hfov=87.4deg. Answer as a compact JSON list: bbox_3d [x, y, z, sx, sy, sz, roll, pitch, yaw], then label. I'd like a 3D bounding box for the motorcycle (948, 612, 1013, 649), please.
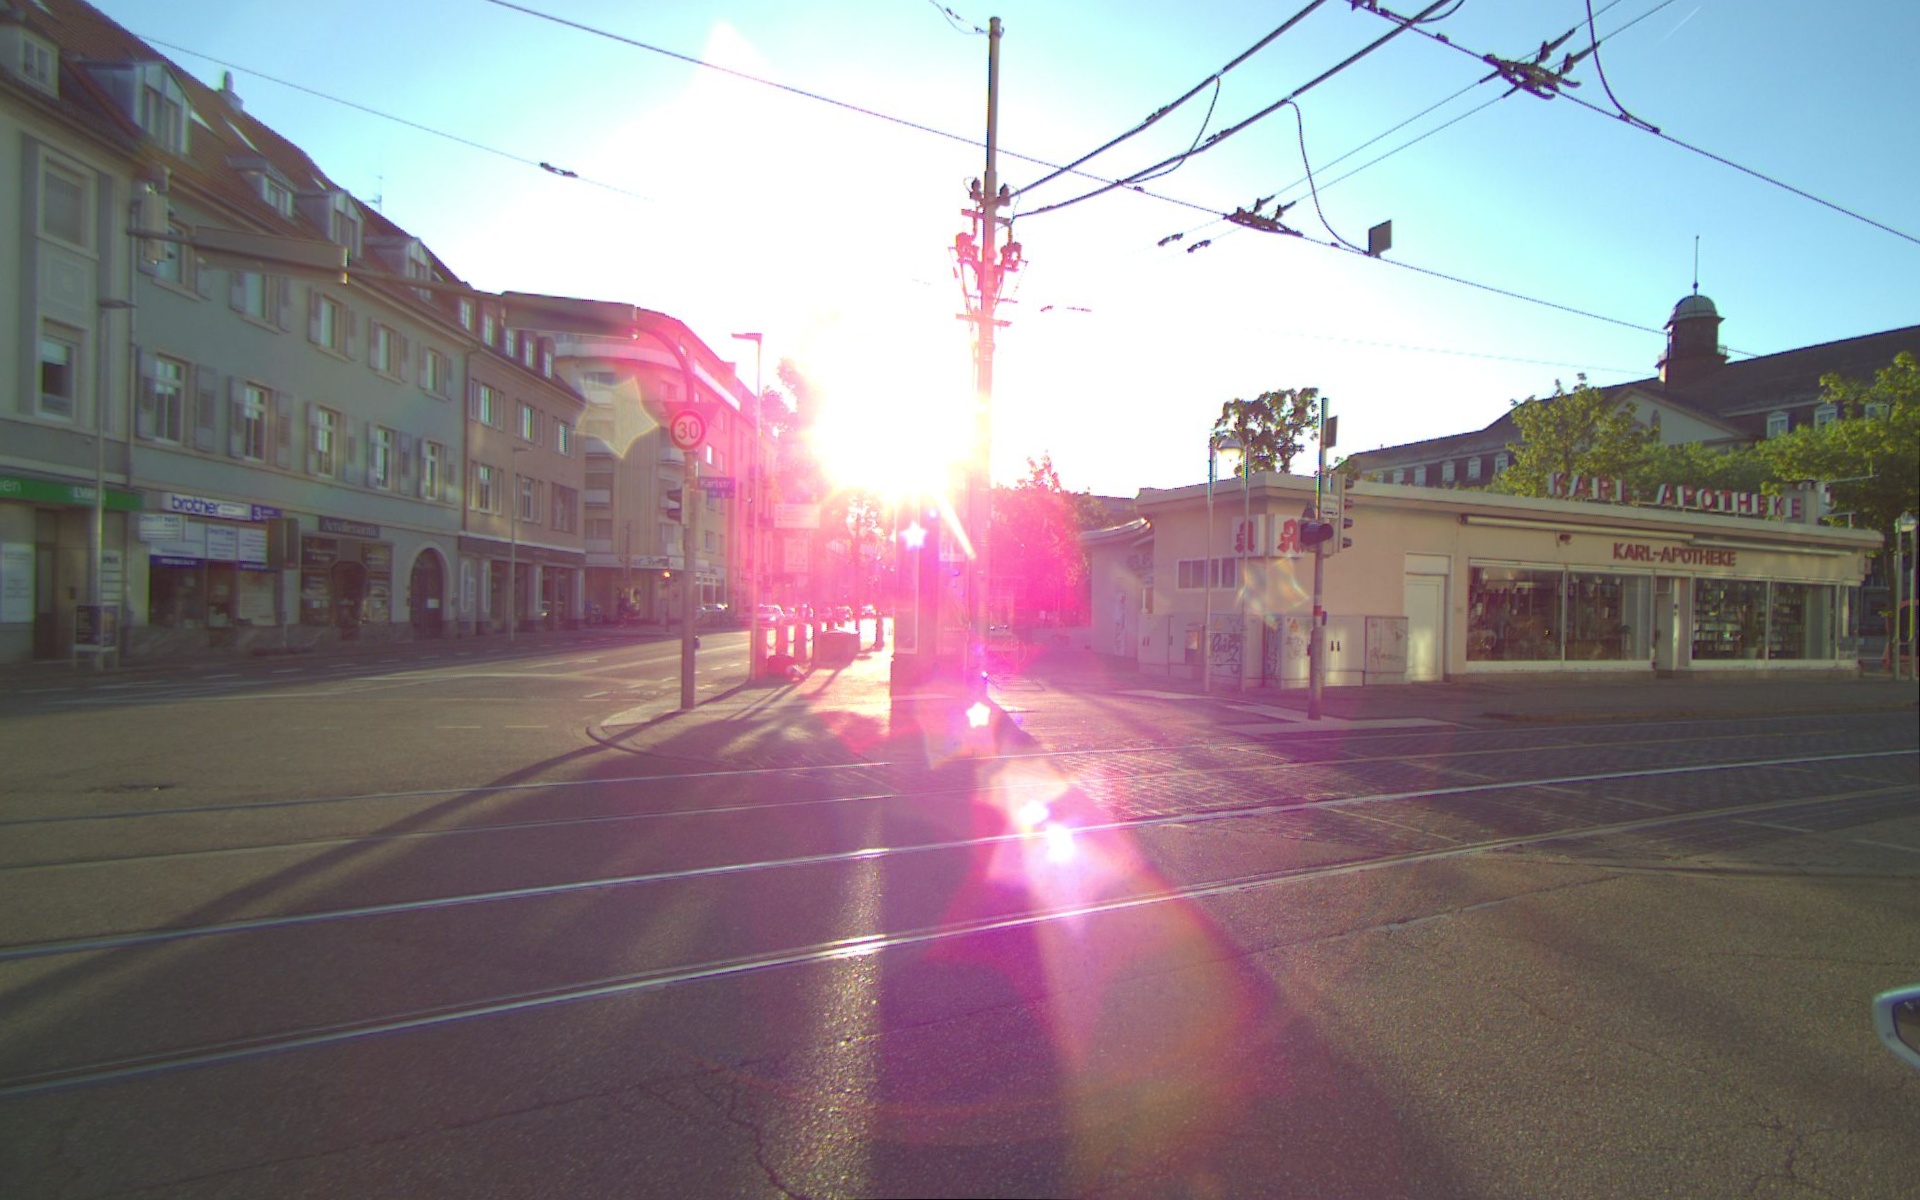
[{"bbox_3d":[0.734,1.058,35.000,2.196,1.217,0.720,1,0,6],"label":"motorcycle"}]

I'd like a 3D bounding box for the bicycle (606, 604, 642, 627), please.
[{"bbox_3d":[-19.656,0.905,58.762,2.082,1.220,0.500,2,-1,17],"label":"bicycle"}]

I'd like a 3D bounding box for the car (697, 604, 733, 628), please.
[{"bbox_3d":[-15.544,1.000,63.866,1.519,1.503,3.352,1,-1,0],"label":"car"}]

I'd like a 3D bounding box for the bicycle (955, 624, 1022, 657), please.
[{"bbox_3d":[0.916,1.271,31.946,2.042,0.995,0.560,1,-1,8],"label":"bicycle"}]

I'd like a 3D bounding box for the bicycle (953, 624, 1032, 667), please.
[{"bbox_3d":[0.851,1.169,26.000,1.985,1.058,0.560,1,-1,8],"label":"bicycle"}]

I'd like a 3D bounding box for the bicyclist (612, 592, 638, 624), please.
[{"bbox_3d":[-19.588,0.451,58.746,1.110,1.814,0.765,2,-1,17],"label":"bicyclist"}]

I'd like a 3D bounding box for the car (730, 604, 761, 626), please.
[{"bbox_3d":[-15.472,1.109,72.488,1.519,1.488,3.352,2,-1,0],"label":"car"}]

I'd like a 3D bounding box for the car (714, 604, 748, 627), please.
[{"bbox_3d":[-15.351,1.043,67.510,1.519,1.488,3.352,2,-1,0],"label":"car"}]

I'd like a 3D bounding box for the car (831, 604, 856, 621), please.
[{"bbox_3d":[-11.879,1.265,102.914,1.960,1.706,4.001,1,-1,2],"label":"car"}]

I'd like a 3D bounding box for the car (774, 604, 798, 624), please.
[{"bbox_3d":[-14.678,1.203,84.832,1.458,1.580,3.259,2,-1,0],"label":"car"}]

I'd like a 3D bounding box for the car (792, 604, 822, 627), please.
[{"bbox_3d":[-11.576,1.220,76.264,1.699,1.608,3.916,3,-1,-1],"label":"car"}]

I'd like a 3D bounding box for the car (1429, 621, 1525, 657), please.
[{"bbox_3d":[26.063,1.964,50.649,4.616,1.586,1.794,3,-1,-24],"label":"car"}]

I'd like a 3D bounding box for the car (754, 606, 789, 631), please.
[{"bbox_3d":[-11.818,1.171,63.125,1.519,1.487,3.352,2,-1,0],"label":"car"}]

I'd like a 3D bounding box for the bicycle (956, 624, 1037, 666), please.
[{"bbox_3d":[0.997,1.207,27.106,2.110,1.057,0.560,1,-1,8],"label":"bicycle"}]
